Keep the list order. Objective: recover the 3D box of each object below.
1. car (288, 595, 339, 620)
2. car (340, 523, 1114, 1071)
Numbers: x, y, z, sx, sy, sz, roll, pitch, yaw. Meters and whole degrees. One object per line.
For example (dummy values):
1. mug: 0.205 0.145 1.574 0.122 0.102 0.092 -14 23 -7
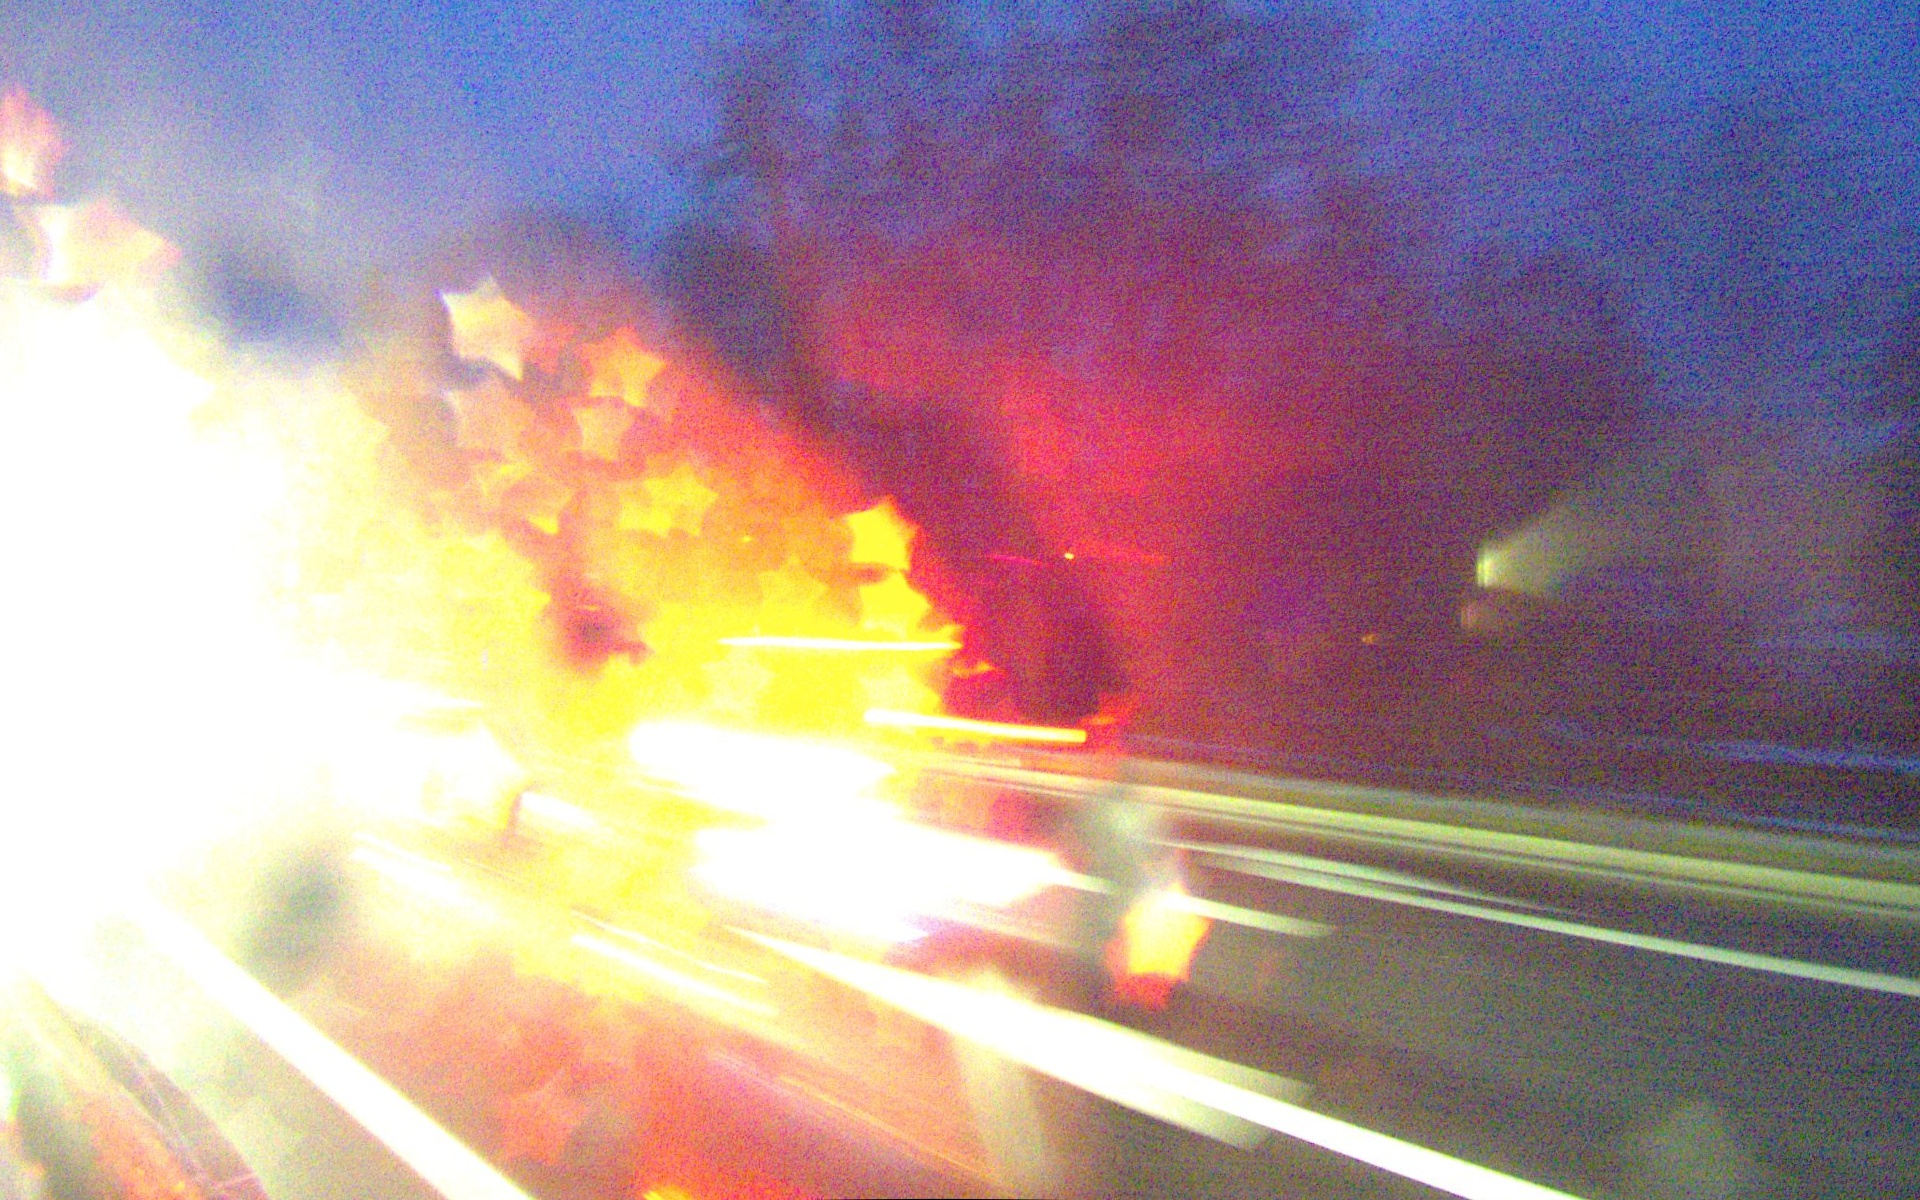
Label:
1. car: -45.023 0.509 70.431 4.482 1.598 1.912 2 1 42
2. car: -1.422 0.663 5.162 3.998 1.684 1.869 -2 -2 41
